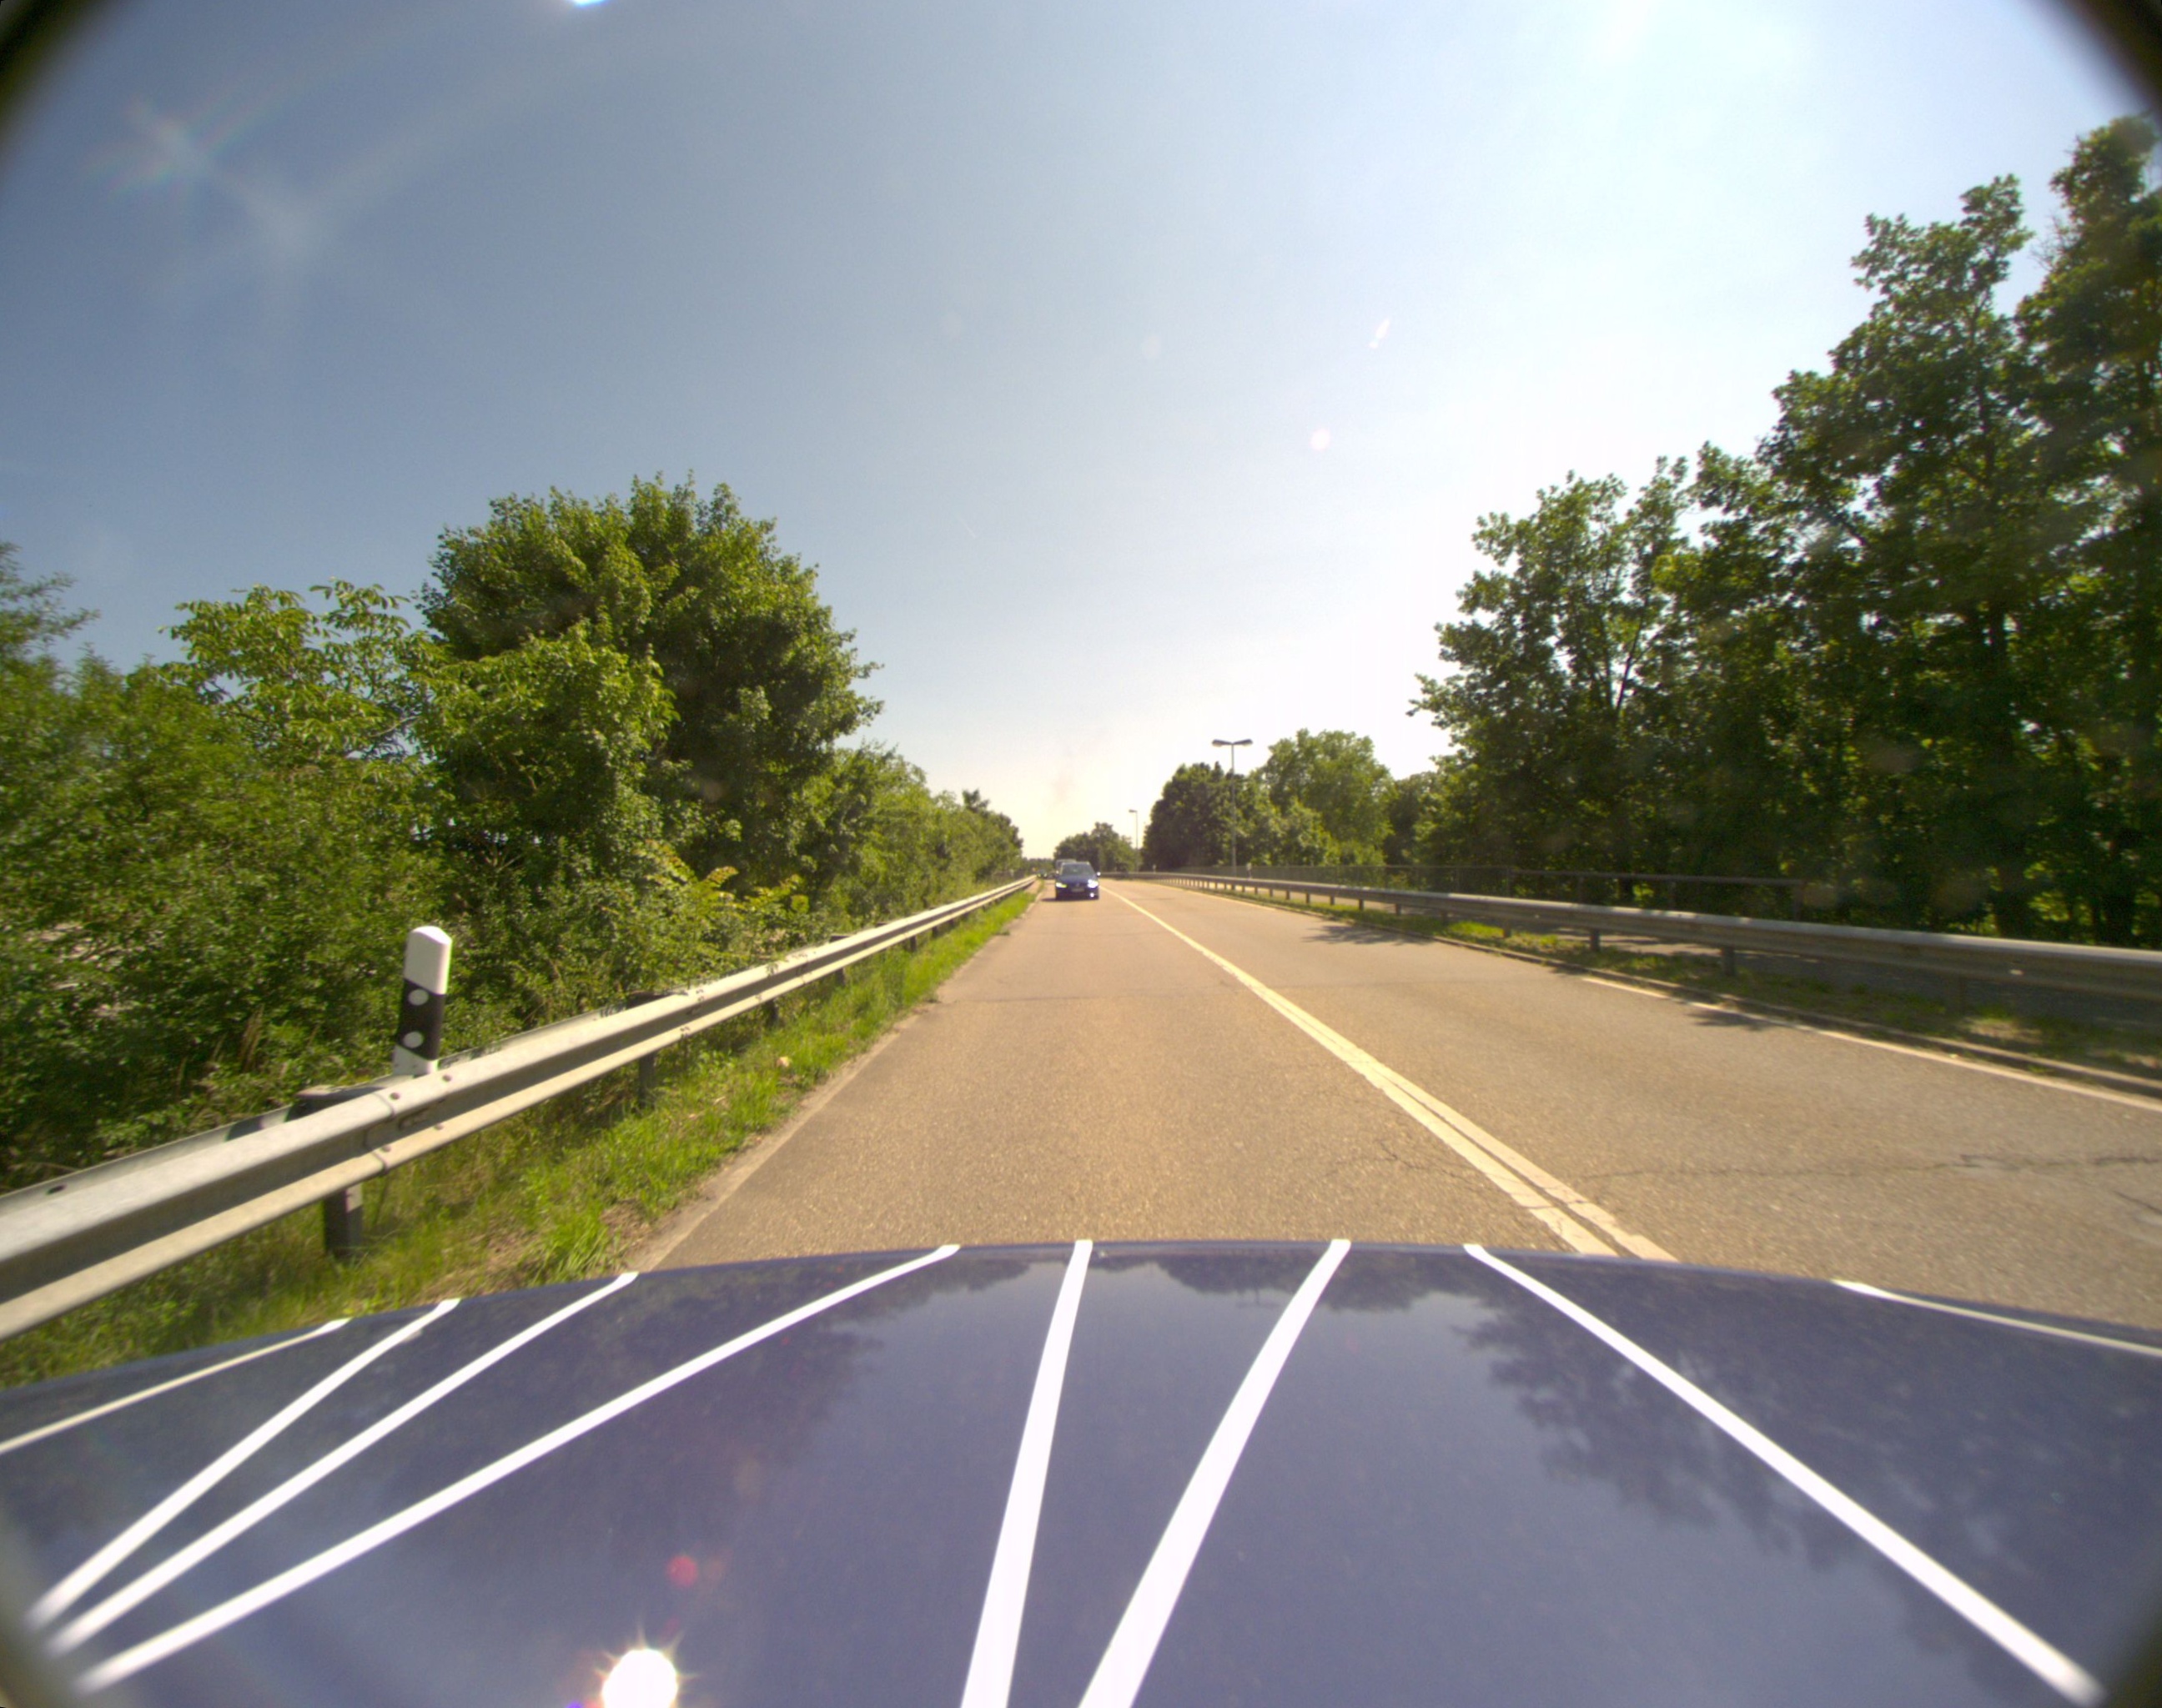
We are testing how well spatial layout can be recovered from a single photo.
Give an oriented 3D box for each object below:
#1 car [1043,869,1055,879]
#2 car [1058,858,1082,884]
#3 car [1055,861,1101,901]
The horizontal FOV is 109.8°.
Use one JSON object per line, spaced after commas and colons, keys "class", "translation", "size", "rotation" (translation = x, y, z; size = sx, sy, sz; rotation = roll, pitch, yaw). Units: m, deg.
{"class": "car", "translation": [-5.175, 3.213, 123.055], "size": [1.765, 1.530, 3.683], "rotation": [1, 0, -3]}
{"class": "car", "translation": [-0.910, 1.391, 62.806], "size": [1.765, 1.953, 4.261], "rotation": [-2, 0, -3]}
{"class": "car", "translation": [-0.192, 1.102, 32.415], "size": [1.765, 1.519, 4.422], "rotation": [-2, 0, -2]}
